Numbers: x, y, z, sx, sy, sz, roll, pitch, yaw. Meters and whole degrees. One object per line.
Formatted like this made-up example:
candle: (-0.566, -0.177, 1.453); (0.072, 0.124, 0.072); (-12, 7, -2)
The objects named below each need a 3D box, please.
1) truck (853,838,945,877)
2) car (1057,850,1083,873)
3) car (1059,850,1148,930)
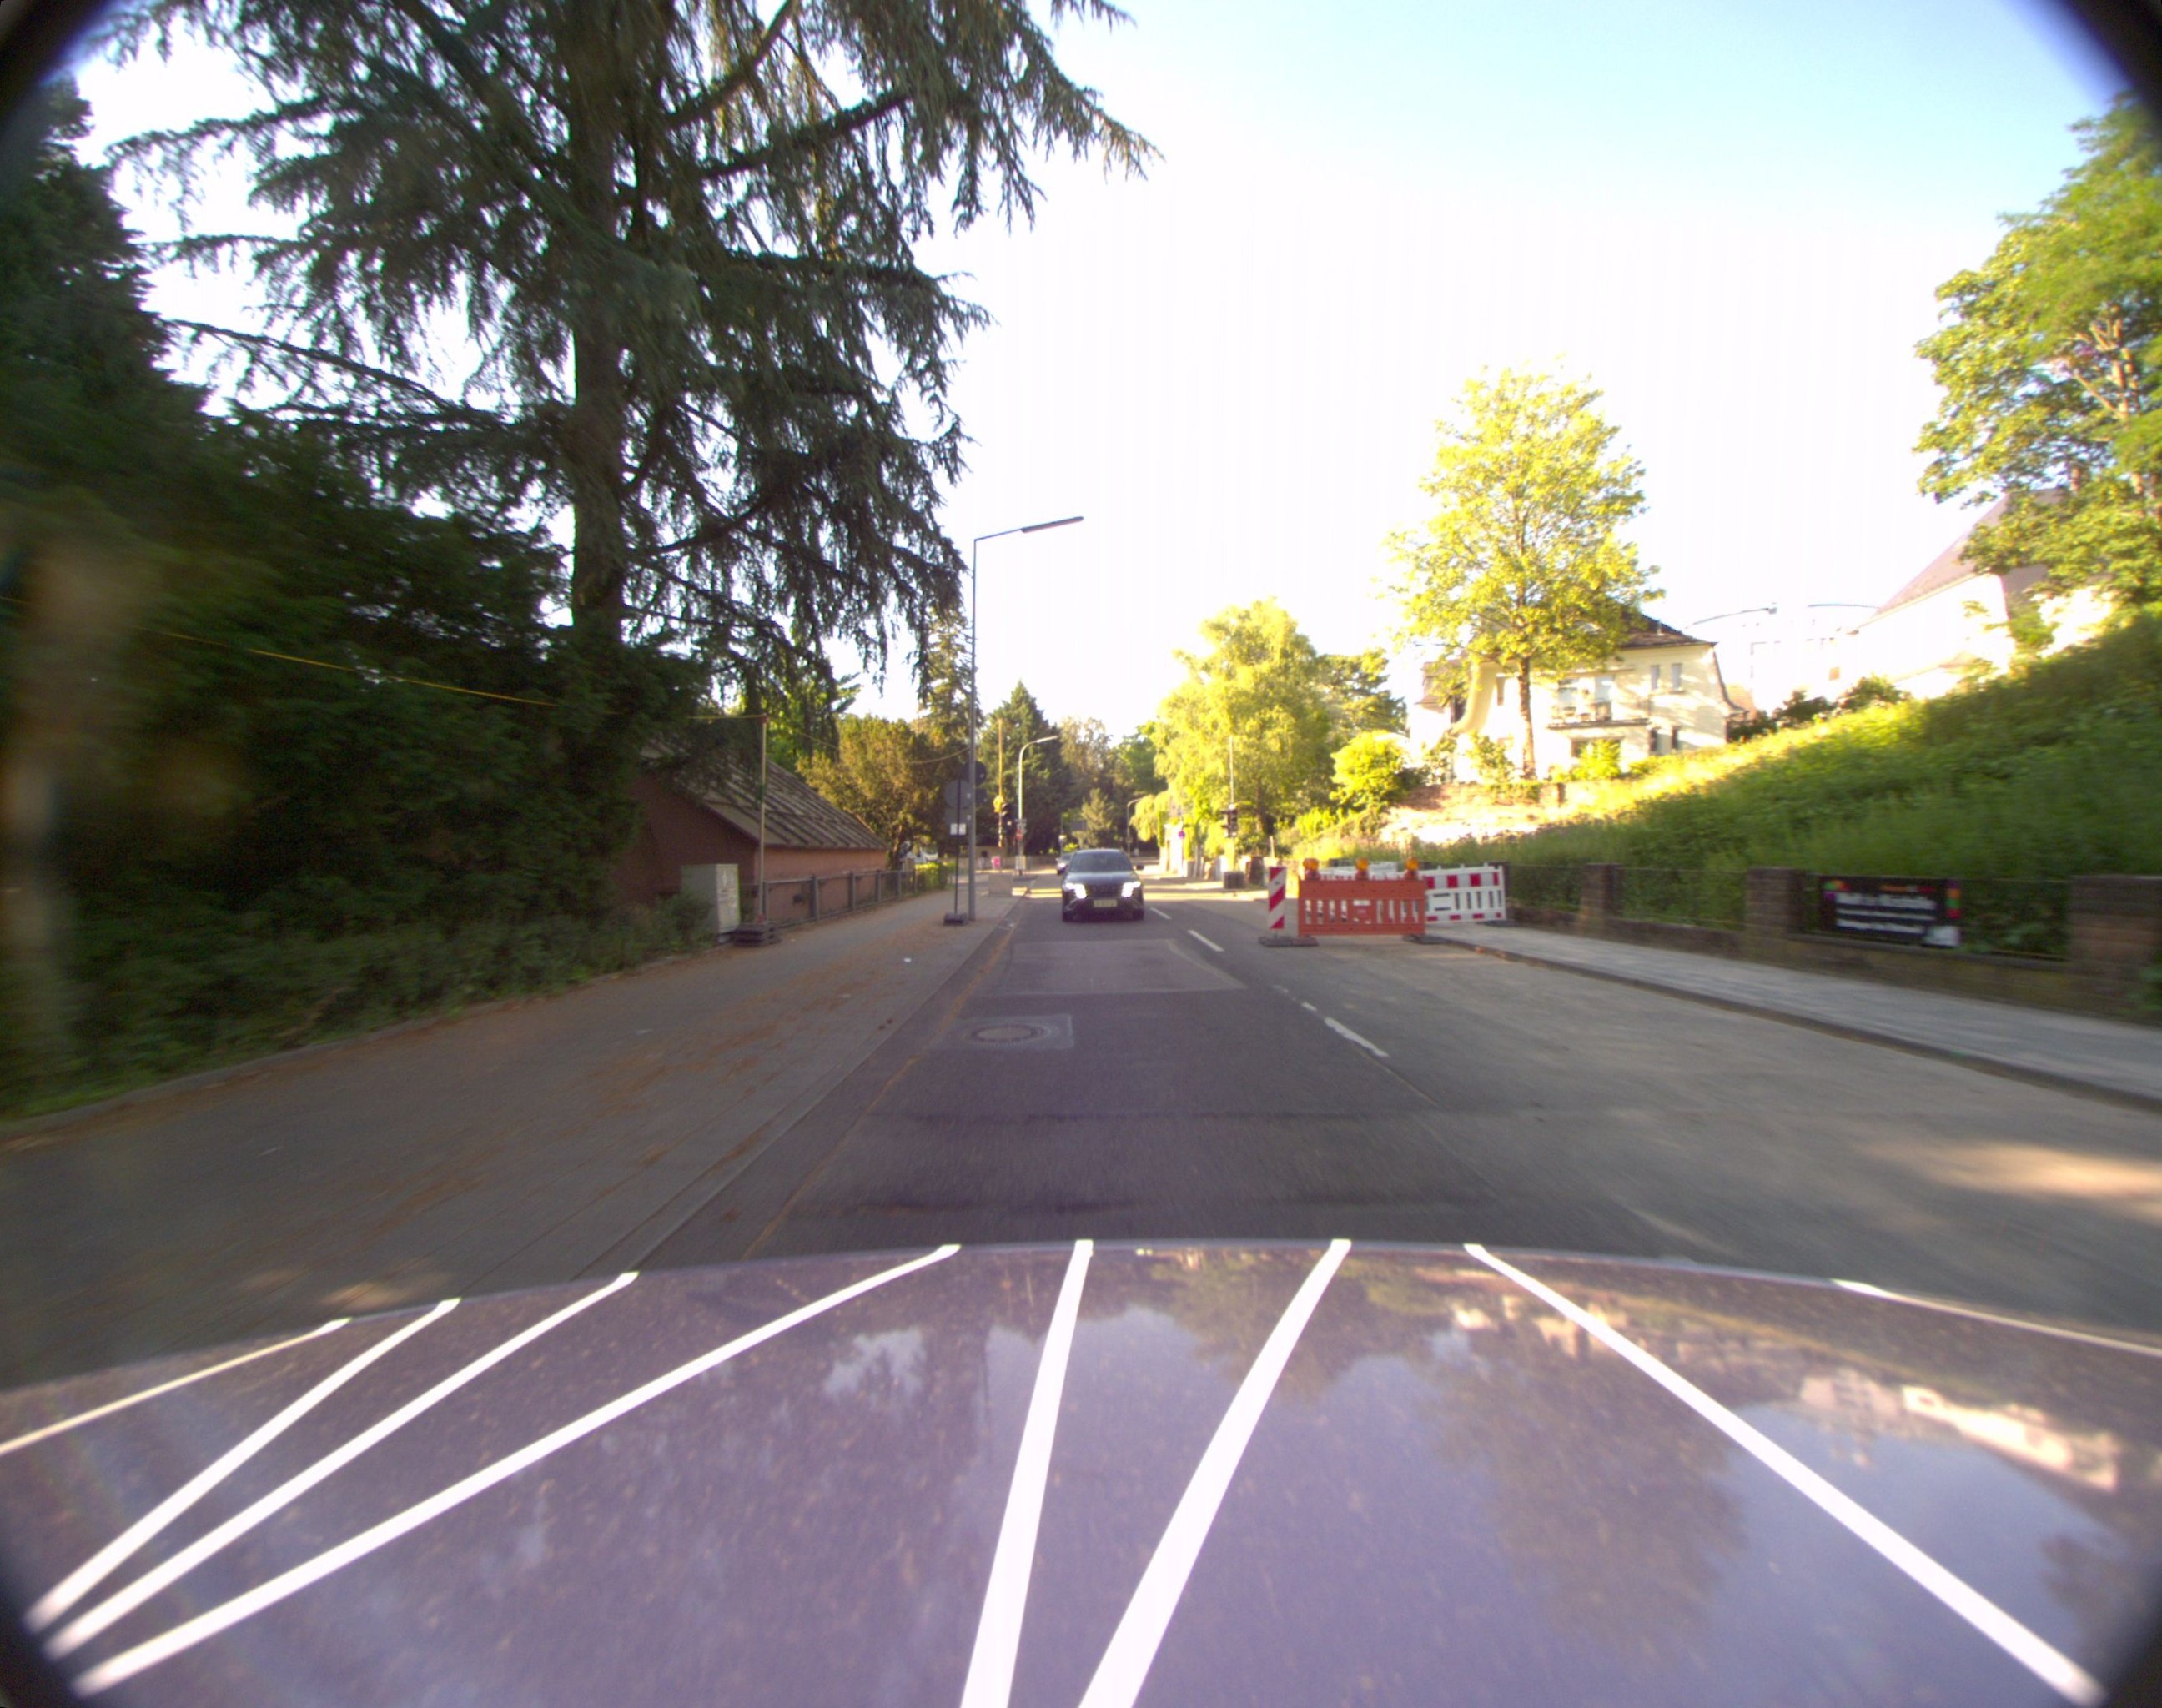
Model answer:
truck: (-13.902, 0.275, 58.085); (6.497, 2.736, 2.373); (-2, 1, 19)
car: (-0.754, 0.514, 51.980); (1.662, 1.468, 3.682); (-1, 1, -2)
car: (0.408, 0.746, 17.903); (1.788, 1.639, 4.473); (-1, 0, -2)
